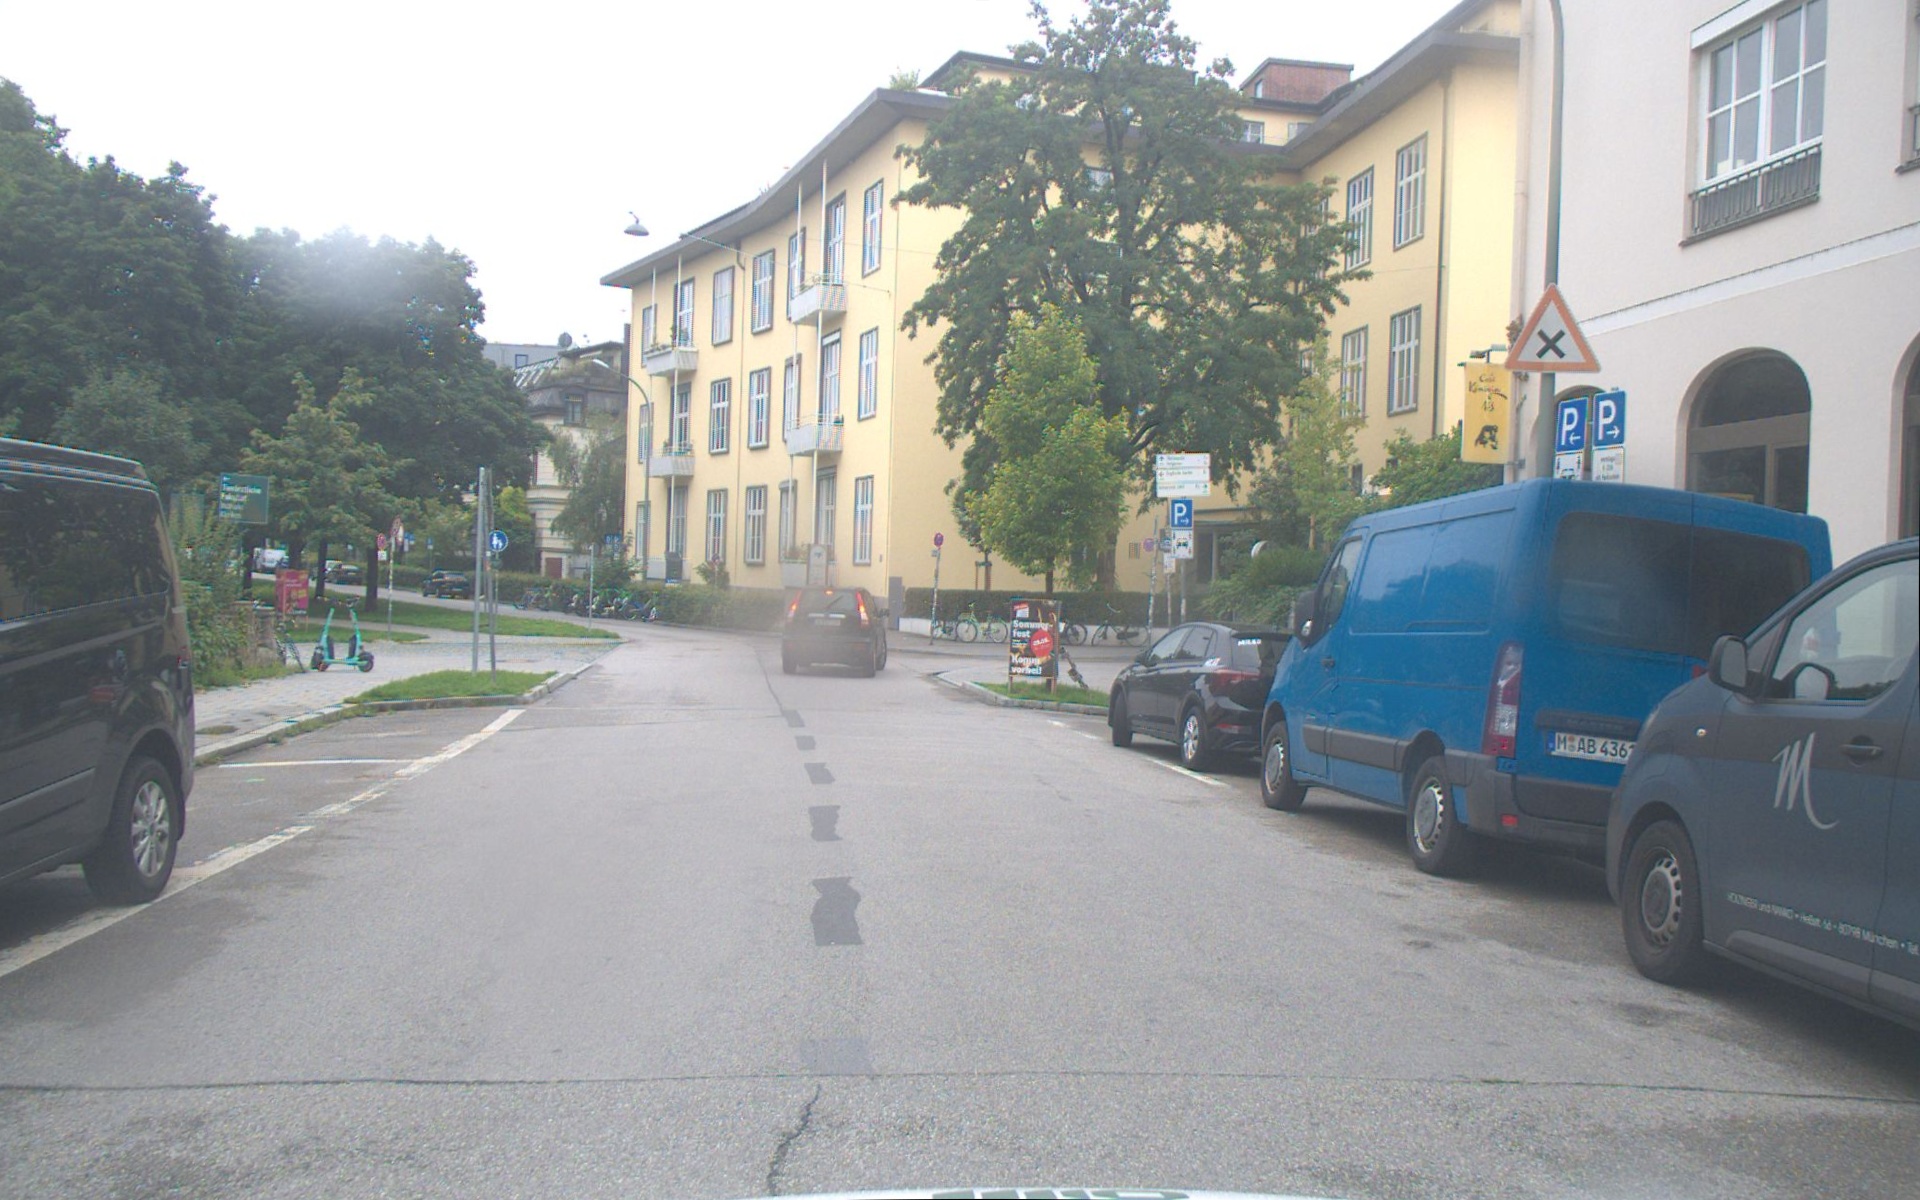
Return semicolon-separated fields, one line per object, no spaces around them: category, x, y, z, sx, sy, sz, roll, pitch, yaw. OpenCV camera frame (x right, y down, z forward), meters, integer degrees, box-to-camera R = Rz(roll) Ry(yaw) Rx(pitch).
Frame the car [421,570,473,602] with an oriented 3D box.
car;-27.781;-0.780;89.503;1.843;1.662;4.242;2;0;-29

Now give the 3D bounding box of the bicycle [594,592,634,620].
bicycle;-14.266;0.245;68.256;0.564;1.104;1.932;1;1;25

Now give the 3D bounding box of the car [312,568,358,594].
car;-43.930;-1.331;116.159;2.155;1.686;4.457;2;0;-32

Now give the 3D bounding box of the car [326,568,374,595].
car;-40.970;-1.232;111.009;2.155;1.686;4.457;2;0;-32

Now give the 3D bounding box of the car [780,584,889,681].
car;-2.450;0.585;32.652;1.956;1.723;4.377;2;0;-4

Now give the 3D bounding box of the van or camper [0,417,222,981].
van or camper;-4.533;0.380;6.004;1.922;2.101;4.748;-1;1;-5

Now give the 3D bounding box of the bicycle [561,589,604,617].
bicycle;-15.850;0.113;69.536;0.681;1.104;2.340;1;1;18

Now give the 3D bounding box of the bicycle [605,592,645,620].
bicycle;-13.730;0.247;67.744;0.564;1.104;1.932;1;1;25

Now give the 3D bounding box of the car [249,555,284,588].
car;-57.104;-2.342;136.190;1.857;2.613;4.879;2;0;-32

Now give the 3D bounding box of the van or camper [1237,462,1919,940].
van or camper;3.657;0.512;11.207;2.021;2.269;5.432;6;0;-5

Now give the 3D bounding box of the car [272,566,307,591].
car;-52.018;-1.676;128.207;1.857;1.847;3.957;2;0;-32

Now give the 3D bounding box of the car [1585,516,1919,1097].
car;4.052;0.727;5.265;1.926;1.847;4.933;5;0;-3

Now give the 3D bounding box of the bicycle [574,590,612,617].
bicycle;-15.281;0.132;68.860;0.624;1.104;1.987;1;1;18

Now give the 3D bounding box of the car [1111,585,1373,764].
car;2.826;0.685;17.445;1.671;1.544;3.954;5;0;-5

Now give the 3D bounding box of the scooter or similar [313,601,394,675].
scooter or similar;-10.392;0.642;28.354;1.154;1.241;0.602;-1;0;-4

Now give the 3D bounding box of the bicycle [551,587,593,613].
bicycle;-16.689;-0.007;71.231;0.746;1.104;2.142;1;1;18

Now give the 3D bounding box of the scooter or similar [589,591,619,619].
scooter or similar;-14.756;0.203;68.567;0.485;1.107;1.410;1;1;21

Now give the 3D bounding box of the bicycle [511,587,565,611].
bicycle;-19.566;-0.049;76.706;2.314;1.104;0.684;0;1;-37

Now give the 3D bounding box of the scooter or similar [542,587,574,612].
scooter or similar;-18.249;-0.006;75.151;1.381;1.107;0.595;1;1;-14

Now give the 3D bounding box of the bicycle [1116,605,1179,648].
bicycle;5.395;0.753;47.681;1.700;1.170;0.610;2;0;-2

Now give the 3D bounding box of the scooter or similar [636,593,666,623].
scooter or similar;-12.025;0.300;64.409;0.485;1.128;1.410;1;1;21

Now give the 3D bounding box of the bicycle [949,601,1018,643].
bicycle;0.688;0.640;48.827;2.178;1.136;0.606;2;0;42

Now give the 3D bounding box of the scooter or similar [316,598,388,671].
scooter or similar;-10.691;0.600;29.106;0.437;1.241;1.179;-1;0;30

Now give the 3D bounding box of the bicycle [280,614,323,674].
bicycle;-11.067;0.731;27.788;0.465;0.939;1.192;1;0;-31

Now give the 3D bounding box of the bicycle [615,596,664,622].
bicycle;-12.717;0.358;65.637;1.807;1.023;0.571;0;1;-34

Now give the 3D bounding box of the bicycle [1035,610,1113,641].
bicycle;3.279;0.727;47.584;2.163;0.792;0.611;2;0;14

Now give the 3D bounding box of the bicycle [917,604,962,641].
bicycle;-0.651;0.685;50.942;0.600;1.091;2.202;1;1;-23
